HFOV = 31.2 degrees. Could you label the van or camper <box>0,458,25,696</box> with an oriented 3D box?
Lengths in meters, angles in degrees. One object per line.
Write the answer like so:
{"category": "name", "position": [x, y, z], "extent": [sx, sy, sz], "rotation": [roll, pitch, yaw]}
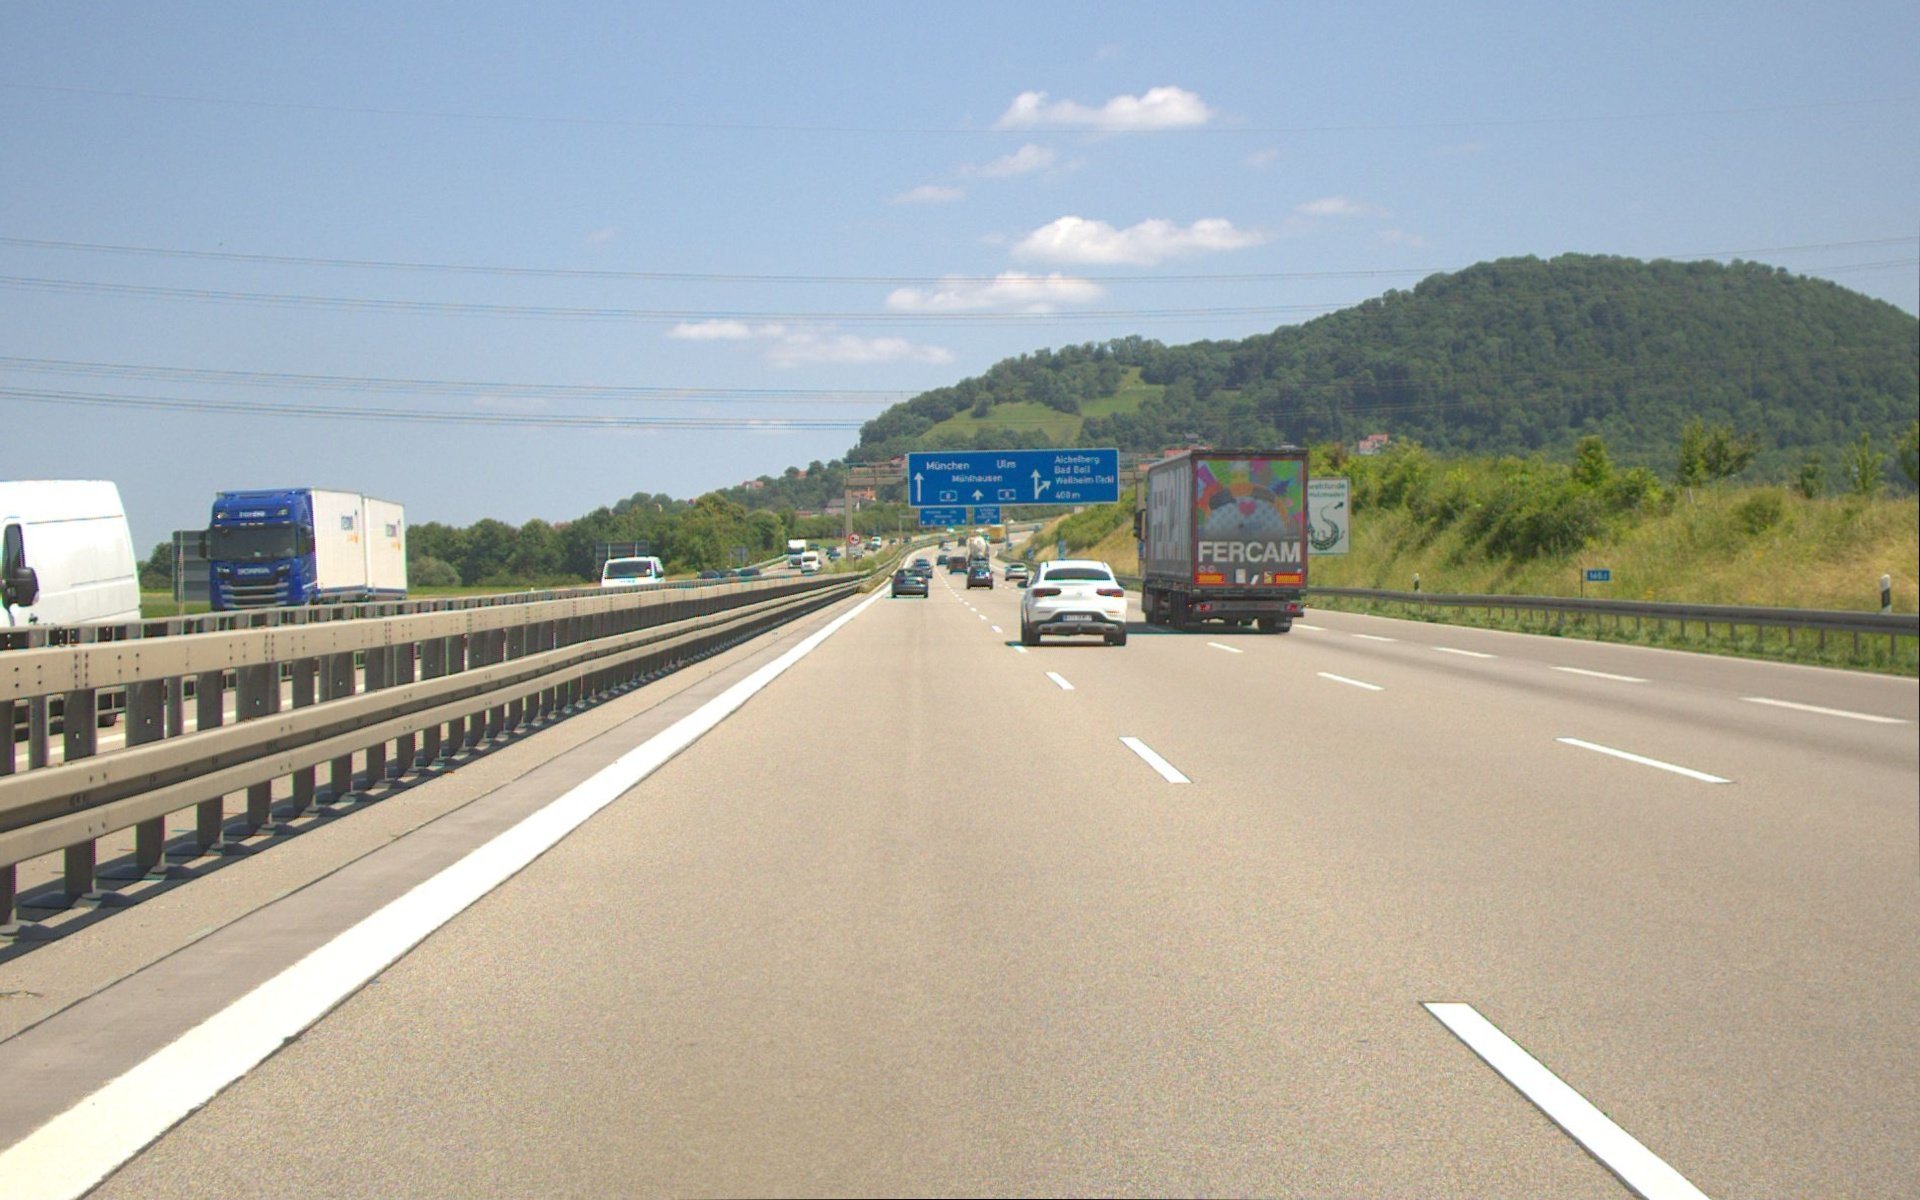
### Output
{"category": "van or camper", "position": [-13.869, -0.234, 42.916], "extent": [2.340, 3.154, 7.402], "rotation": [-2, 1, -1]}

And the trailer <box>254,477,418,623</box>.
{"category": "trailer", "position": [-18.206, -1.426, 101.046], "extent": [2.832, 4.032, 11.666], "rotation": [1, 0, -1]}

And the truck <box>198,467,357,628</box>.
{"category": "truck", "position": [-18.072, -1.366, 91.431], "extent": [2.820, 4.075, 7.532], "rotation": [1, 0, -1]}

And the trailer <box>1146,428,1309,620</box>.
{"category": "trailer", "position": [6.106, -1.682, 80.239], "extent": [2.725, 4.141, 11.808], "rotation": [1, 0, -1]}

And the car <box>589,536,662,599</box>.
{"category": "car", "position": [-11.281, -1.097, 116.131], "extent": [1.984, 2.003, 4.649], "rotation": [-3, 1, -1]}

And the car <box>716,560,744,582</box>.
{"category": "car", "position": [-16.143, -2.029, 241.469], "extent": [1.671, 1.435, 4.566], "rotation": [-3, 0, -1]}

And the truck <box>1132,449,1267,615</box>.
{"category": "truck", "position": [6.003, -1.684, 87.158], "extent": [2.752, 4.007, 6.789], "rotation": [1, 0, -1]}

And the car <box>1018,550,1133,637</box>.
{"category": "car", "position": [2.162, -0.131, 65.525], "extent": [1.914, 1.575, 5.231], "rotation": [1, 0, -1]}

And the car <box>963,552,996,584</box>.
{"category": "car", "position": [1.194, -1.990, 214.284], "extent": [1.993, 2.007, 4.000], "rotation": [1, 0, 0]}

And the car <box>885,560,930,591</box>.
{"category": "car", "position": [-2.428, -1.151, 159.672], "extent": [1.993, 1.384, 4.000], "rotation": [1, 0, 0]}

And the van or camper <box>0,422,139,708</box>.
{"category": "van or camper", "position": [-9.679, -0.340, 33.077], "extent": [2.123, 2.566, 6.122], "rotation": [1, 0, -1]}
